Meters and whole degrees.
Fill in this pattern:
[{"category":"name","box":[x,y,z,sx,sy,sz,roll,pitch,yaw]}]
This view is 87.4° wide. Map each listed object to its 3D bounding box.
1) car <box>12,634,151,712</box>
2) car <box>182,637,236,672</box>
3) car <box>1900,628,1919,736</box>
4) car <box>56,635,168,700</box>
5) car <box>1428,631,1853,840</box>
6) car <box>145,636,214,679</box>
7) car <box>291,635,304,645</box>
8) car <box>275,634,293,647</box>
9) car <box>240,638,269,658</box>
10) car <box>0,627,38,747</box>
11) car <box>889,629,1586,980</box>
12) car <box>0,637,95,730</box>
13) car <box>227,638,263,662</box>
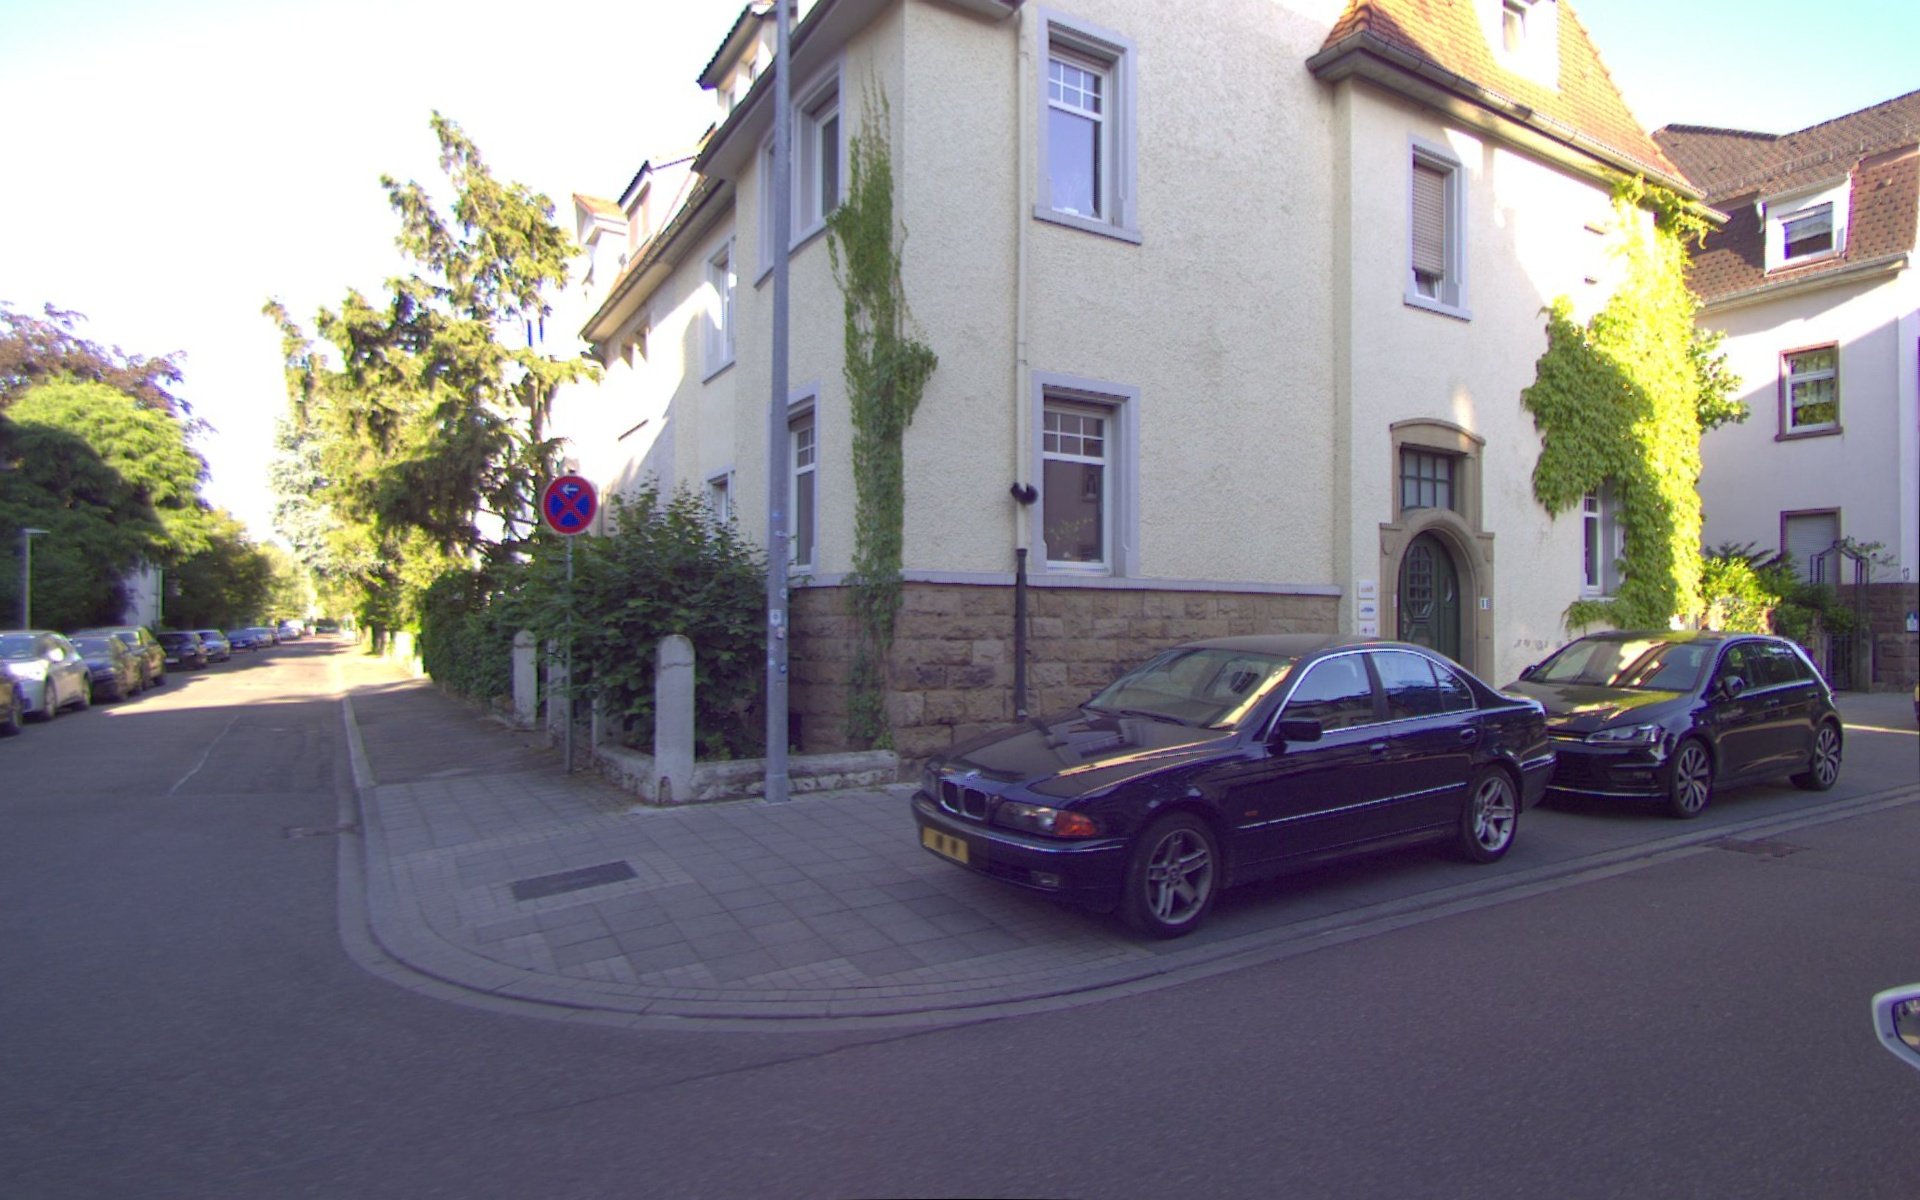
[{"category":"car","box":[-18.883,1.514,21.750,1.664,1.448,3.923,-2,-1,-33]},{"category":"car","box":[-34.370,2.468,46.064,1.664,1.448,3.923,-2,-1,-33]},{"category":"car","box":[15.118,1.115,14.175,3.957,1.466,1.646,0,-1,-30]},{"category":"car","box":[-21.621,1.677,25.750,1.664,1.448,3.923,-2,-1,-33]},{"category":"car","box":[6.259,1.046,9.123,4.120,1.434,1.645,0,-1,-31]},{"category":"car","box":[-29.250,2.124,37.721,1.664,1.448,3.923,-2,-1,-33]},{"category":"car","box":[-107.438,6.524,162.953,1.664,1.448,3.923,-2,-1,-33]},{"category":"car","box":[-82.144,4.955,122.052,1.664,1.448,3.923,-2,-1,-33]},{"category":"car","box":[-54.479,3.709,77.620,1.664,1.448,3.923,-2,-1,-33]},{"category":"car","box":[-13.342,1.168,12.673,1.742,1.580,4.450,-2,-1,-33]},{"category":"car","box":[1.958,0.970,6.454,4.582,1.489,1.700,0,-1,-32]},{"category":"car","box":[-16.467,1.411,17.416,1.664,1.448,3.923,-2,-1,-33]},{"category":"car","box":[-45.642,3.171,64.153,1.664,1.448,3.923,-2,-1,-33]}]
